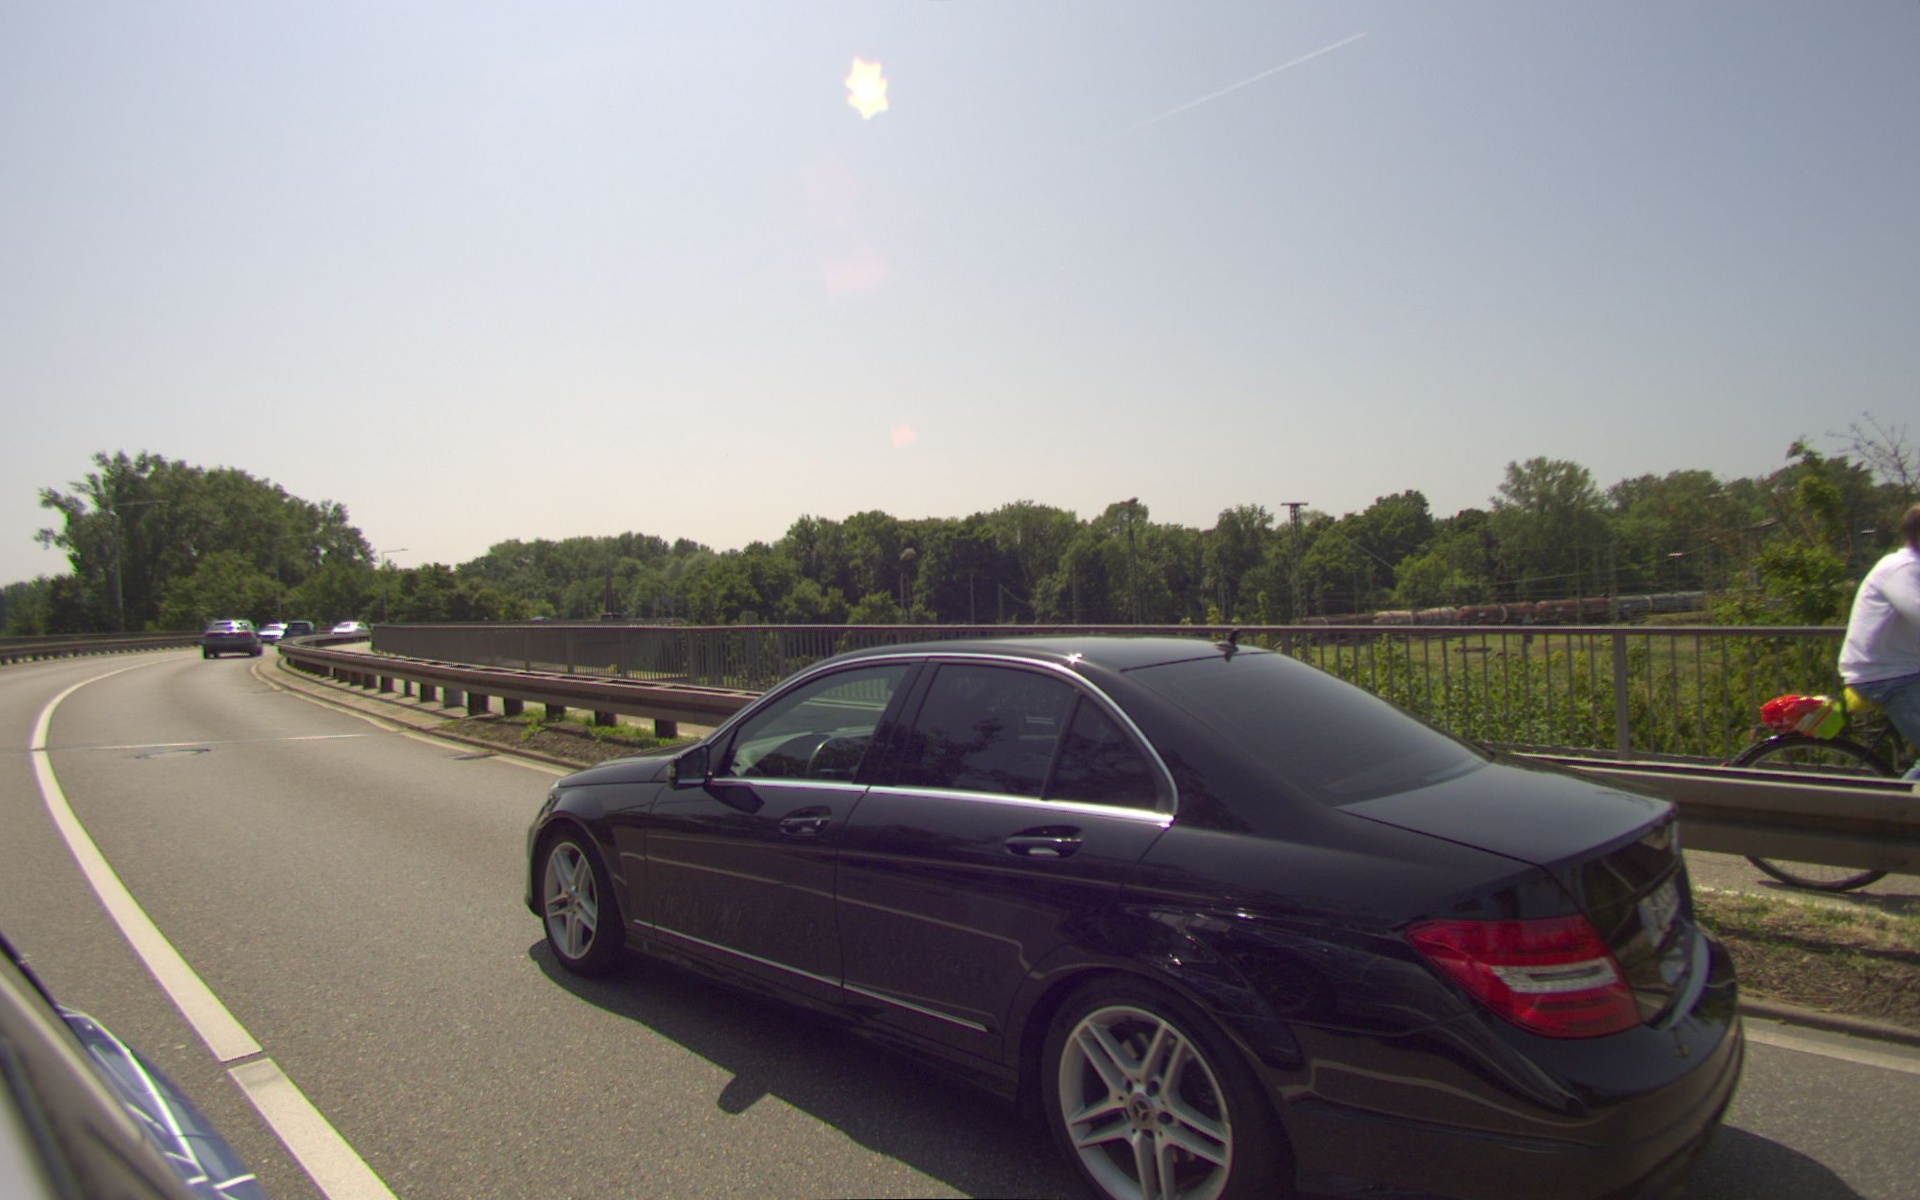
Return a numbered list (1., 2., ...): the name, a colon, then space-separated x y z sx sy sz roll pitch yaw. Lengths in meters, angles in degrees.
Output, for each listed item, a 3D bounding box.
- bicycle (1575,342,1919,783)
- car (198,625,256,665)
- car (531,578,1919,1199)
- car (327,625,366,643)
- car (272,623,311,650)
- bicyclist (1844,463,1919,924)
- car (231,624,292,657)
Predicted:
1. bicycle: 4.104 -0.152 4.509 2.179 1.815 0.691 -3 -2 40
2. car: -31.141 1.896 43.080 1.798 1.548 4.206 -1 -2 -33
3. car: 0.340 0.753 3.334 4.128 1.454 1.658 -2 -2 42
4. car: -50.101 2.753 82.745 1.522 1.364 3.585 -2 -1 -10
5. car: -39.170 2.138 59.358 1.574 1.497 2.756 -1 -2 -27
6. bicyclist: 4.293 0.377 4.293 0.712 1.900 0.618 -3 -2 40
7. car: -46.039 2.634 66.793 1.967 2.029 4.010 -2 -1 -14
